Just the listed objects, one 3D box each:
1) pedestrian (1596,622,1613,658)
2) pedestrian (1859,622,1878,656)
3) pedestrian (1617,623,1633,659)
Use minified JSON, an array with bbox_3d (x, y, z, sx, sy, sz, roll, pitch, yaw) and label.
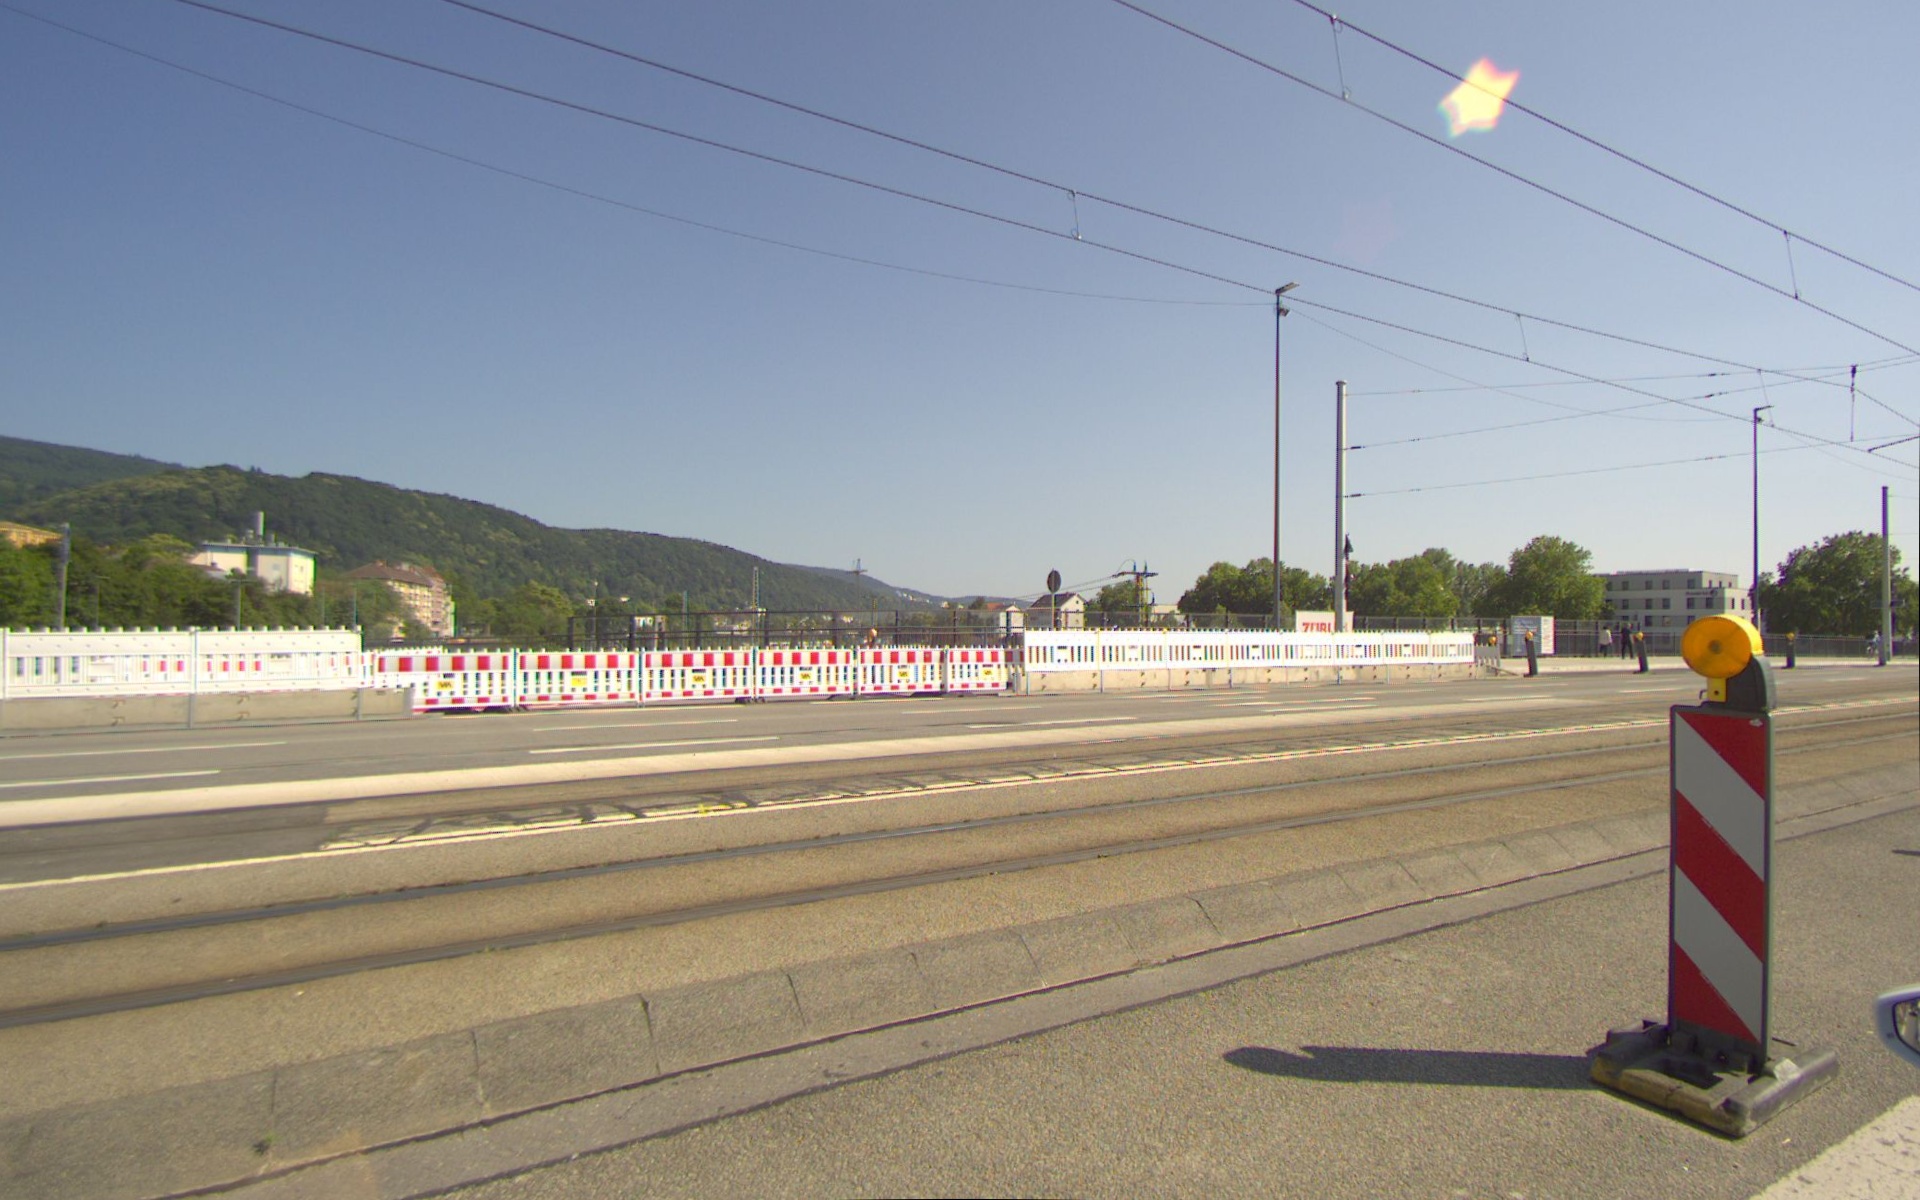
[{"bbox_3d":[31.826,1.971,49.597,0.468,1.717,0.493,2,0,-30],"label":"pedestrian"},{"bbox_3d":[53.290,2.283,58.898,0.743,1.919,0.631,1,0,-30],"label":"pedestrian"},{"bbox_3d":[32.200,1.963,48.629,0.468,1.717,0.493,2,0,-30],"label":"pedestrian"}]
